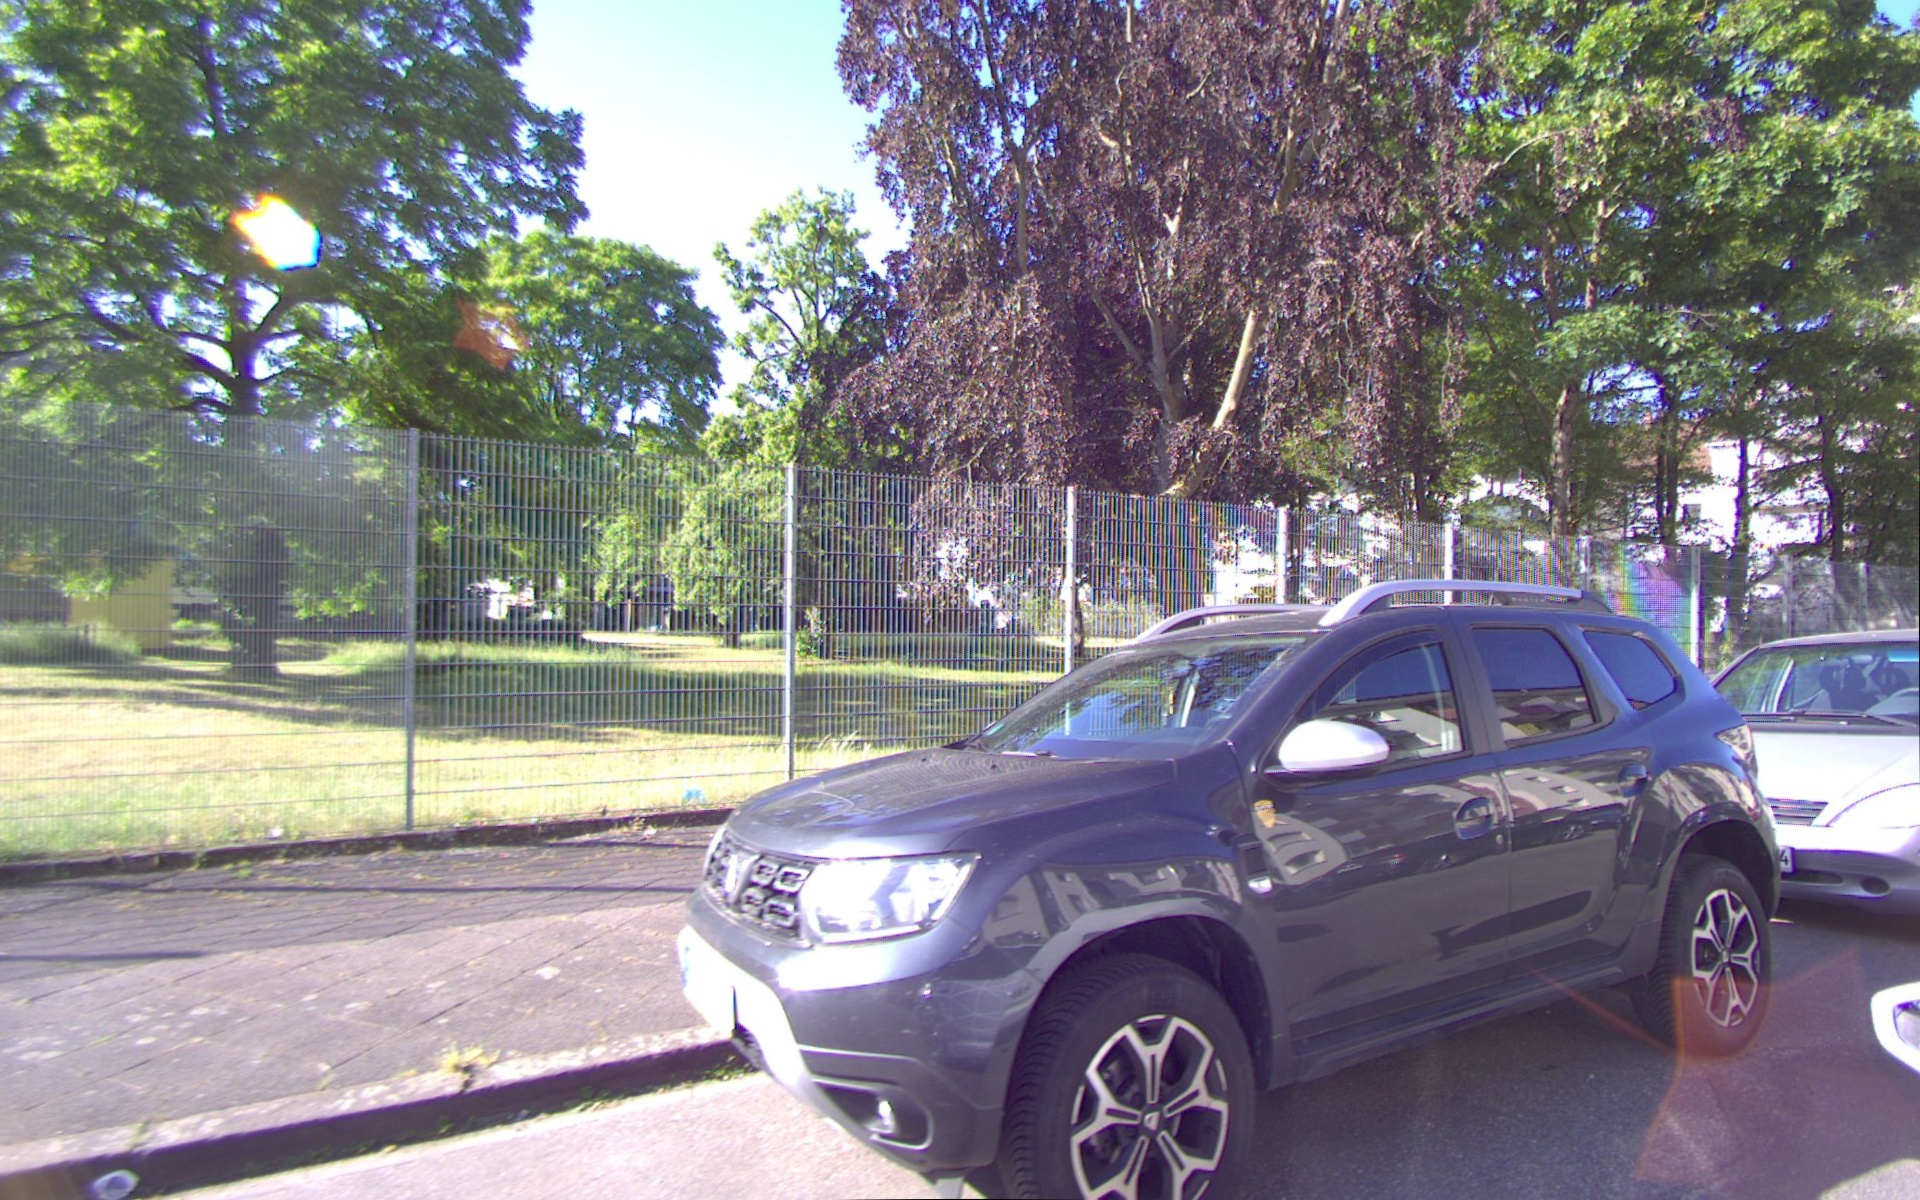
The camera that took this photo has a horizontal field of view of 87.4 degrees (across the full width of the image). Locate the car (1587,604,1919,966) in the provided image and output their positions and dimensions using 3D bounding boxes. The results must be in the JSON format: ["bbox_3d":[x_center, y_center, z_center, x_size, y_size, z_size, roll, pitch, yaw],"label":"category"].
[{"bbox_3d":[5.670,0.955,6.122,3.571,1.664,1.558,2,-5,-29],"label":"car"}]

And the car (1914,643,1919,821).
[{"bbox_3d":[10.102,1.119,8.455,4.068,1.464,1.787,2,-3,-28],"label":"car"}]

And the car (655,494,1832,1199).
[{"bbox_3d":[1.166,0.749,3.678,4.114,1.685,1.706,2,-4,-29],"label":"car"}]
